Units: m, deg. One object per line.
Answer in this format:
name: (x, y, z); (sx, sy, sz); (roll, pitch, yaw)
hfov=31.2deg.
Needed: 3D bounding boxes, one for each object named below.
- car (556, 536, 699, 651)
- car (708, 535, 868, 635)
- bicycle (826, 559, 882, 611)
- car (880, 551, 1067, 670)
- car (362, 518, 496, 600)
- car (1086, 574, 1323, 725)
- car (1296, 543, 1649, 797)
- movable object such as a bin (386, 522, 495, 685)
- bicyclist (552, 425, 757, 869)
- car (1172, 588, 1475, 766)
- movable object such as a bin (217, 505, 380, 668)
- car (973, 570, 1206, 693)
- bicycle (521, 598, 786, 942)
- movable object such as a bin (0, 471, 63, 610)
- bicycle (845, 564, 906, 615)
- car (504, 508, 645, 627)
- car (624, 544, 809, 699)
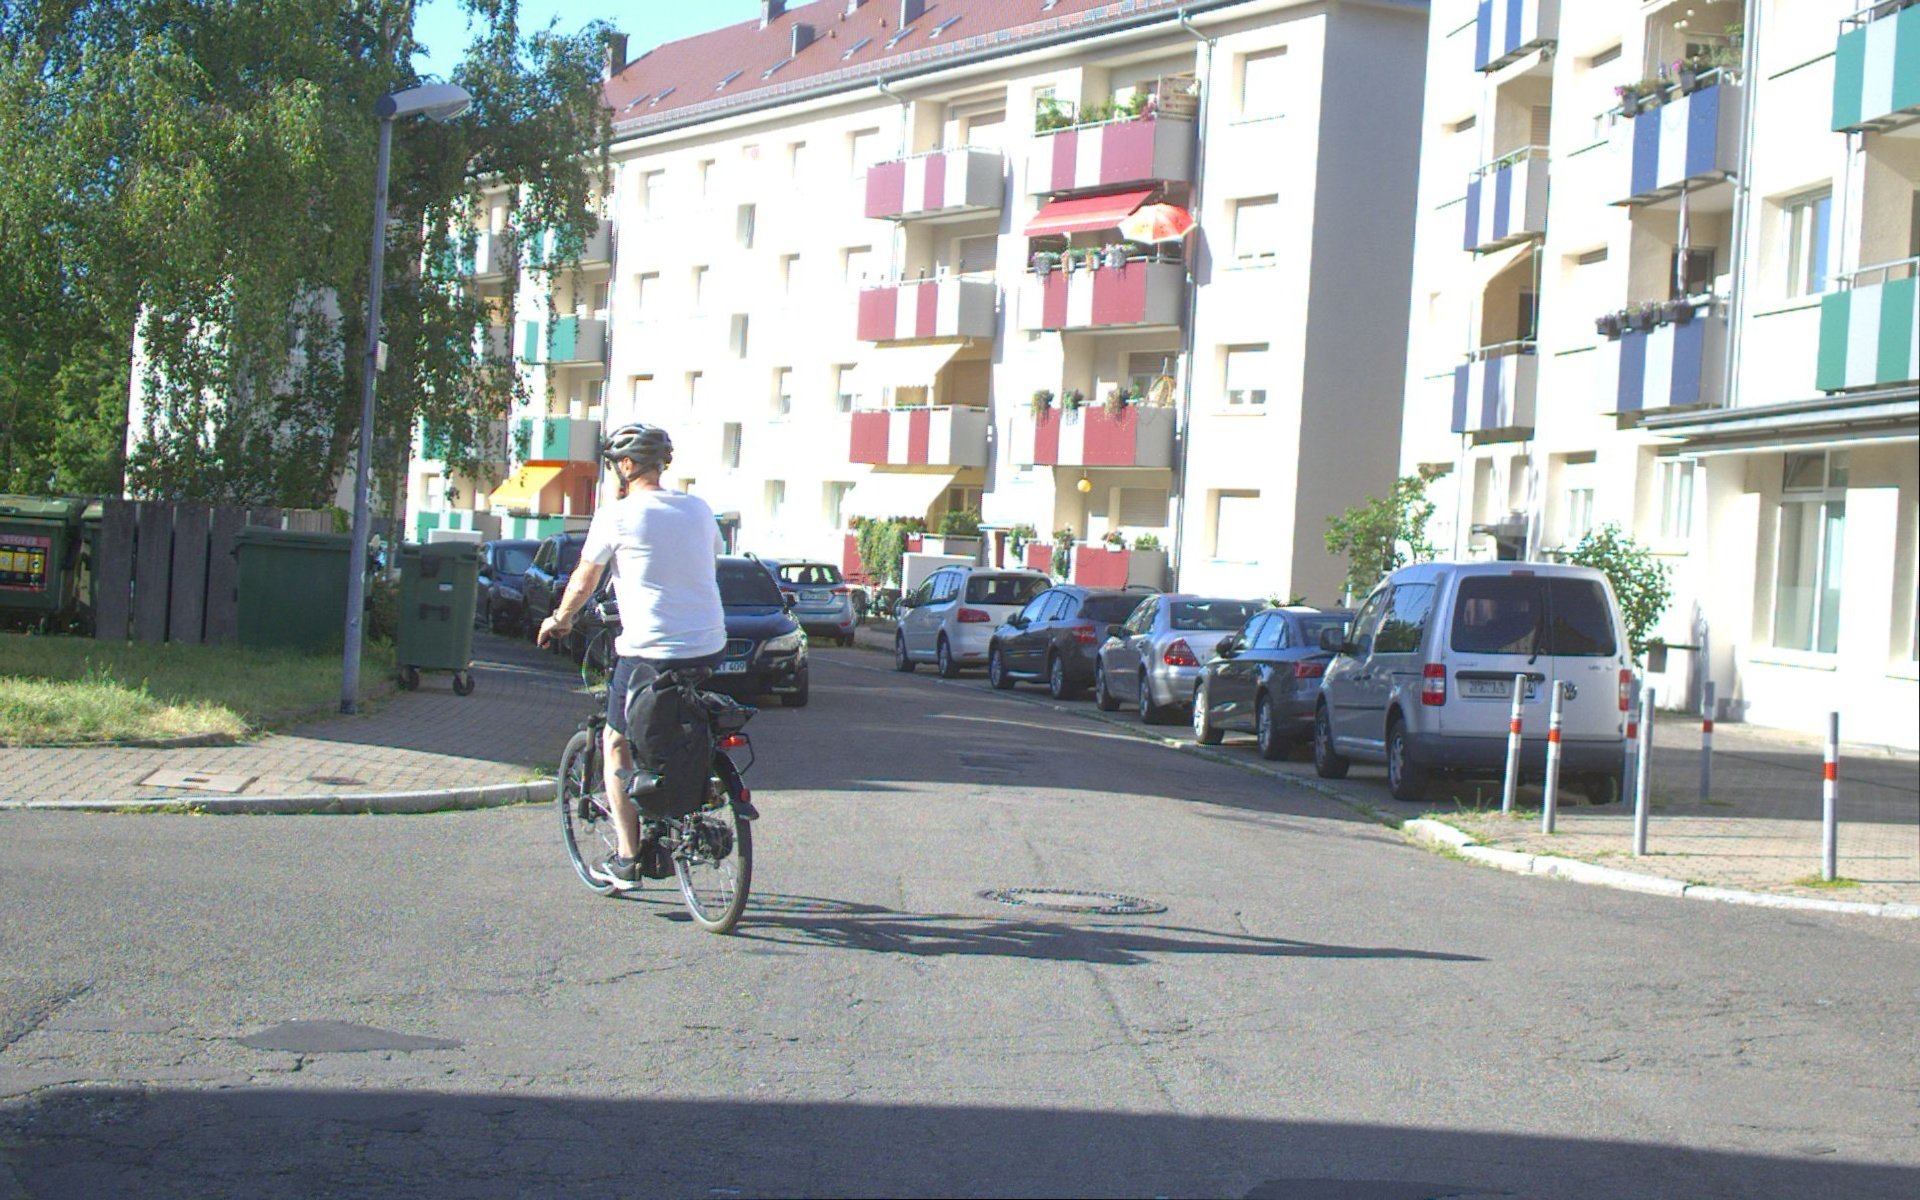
car: (-4.462, -0.120, 45.736); (1.555, 1.437, 3.969); (1, 1, -10)
car: (-3.223, -0.296, 63.675); (1.765, 1.630, 4.043); (1, 2, -21)
bicycle: (-2.233, -0.322, 72.484); (0.497, 1.016, 1.842); (1, 1, -24)
car: (0.147, 0.129, 51.547); (1.693, 1.650, 4.391); (2, 0, -14)
car: (-10.256, -0.810, 66.232); (1.693, 1.384, 4.158); (3, 1, -20)
car: (2.691, 0.515, 38.901); (1.677, 1.442, 4.725); (3, 1, -8)
car: (3.955, 0.482, 27.211); (1.746, 1.817, 4.132); (1, 1, -6)
movable object such as a bin: (-4.647, 0.020, 30.854); (0.775, 1.388, 1.417); (3, 1, -4)
bicyclist: (-1.138, 0.161, 12.686); (0.596, 1.573, 0.907); (1, 1, -13)
car: (3.383, 0.686, 32.878); (1.677, 1.402, 4.547); (3, 1, -9)
movable object such as a bin: (-5.985, -0.125, 31.145); (1.220, 1.375, 0.767); (4, 1, 1)
car: (1.613, 0.376, 44.792); (1.693, 1.427, 4.689); (2, 1, -15)
bicycle: (-1.168, 0.592, 12.758); (0.627, 1.111, 1.817); (3, 1, -14)
movable object such as a bin: (-10.098, -0.637, 36.211); (1.060, 1.430, 1.003); (2, 1, -4)
bicycle: (-1.813, -0.221, 73.074); (0.617, 0.975, 1.896); (0, 4, -23)
car: (-5.851, -0.510, 51.793); (1.555, 1.708, 4.339); (0, 1, -14)
car: (-2.544, 0.169, 35.095); (1.677, 1.448, 4.621); (1, 1, -6)
